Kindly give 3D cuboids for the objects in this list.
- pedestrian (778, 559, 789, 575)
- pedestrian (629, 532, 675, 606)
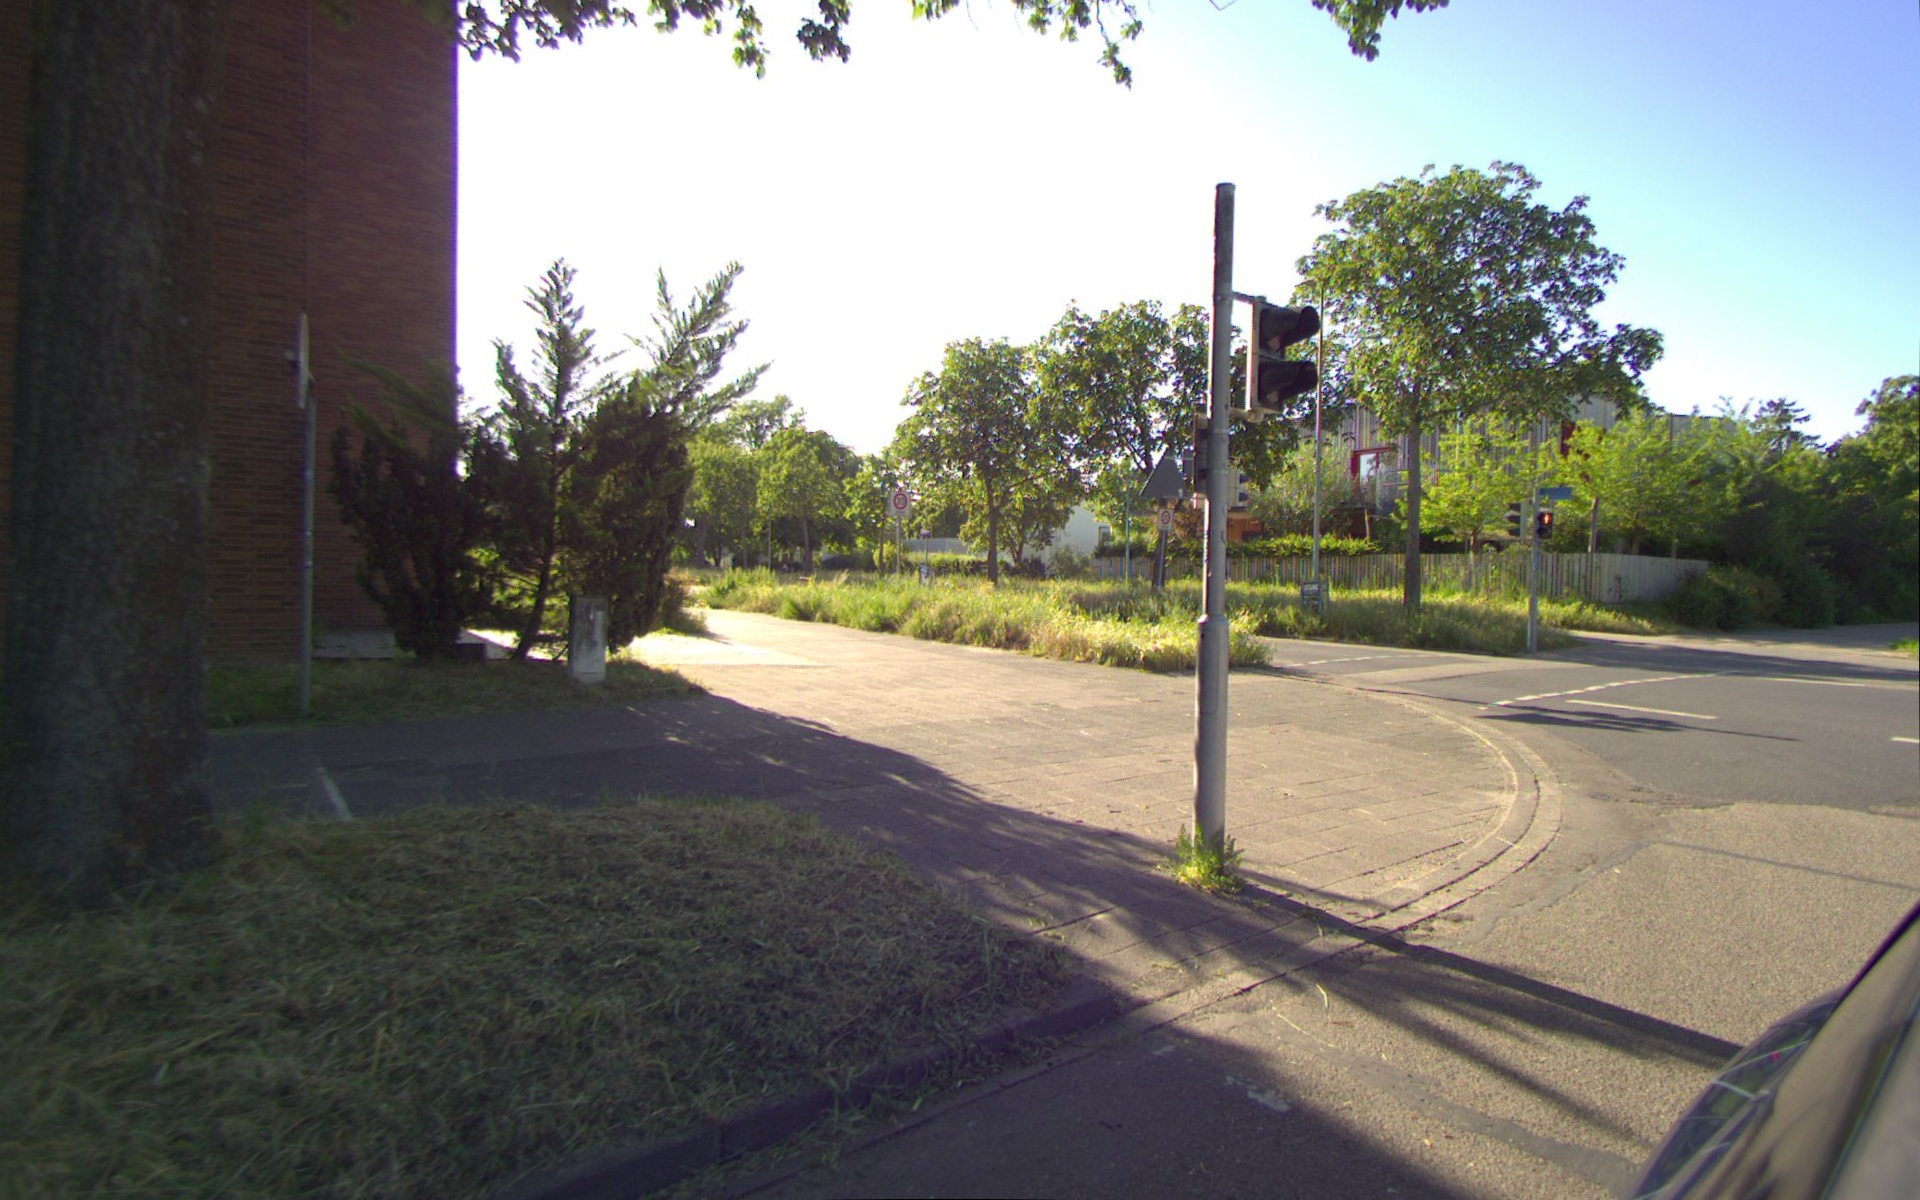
[{"bbox_3d":[-13.433,-2.540,76.824,0.628,1.171,0.522,-4,4,-34],"label":"pedestrian"},{"bbox_3d":[-7.821,-0.807,25.699,0.886,1.844,0.736,-2,3,-38],"label":"pedestrian"}]
